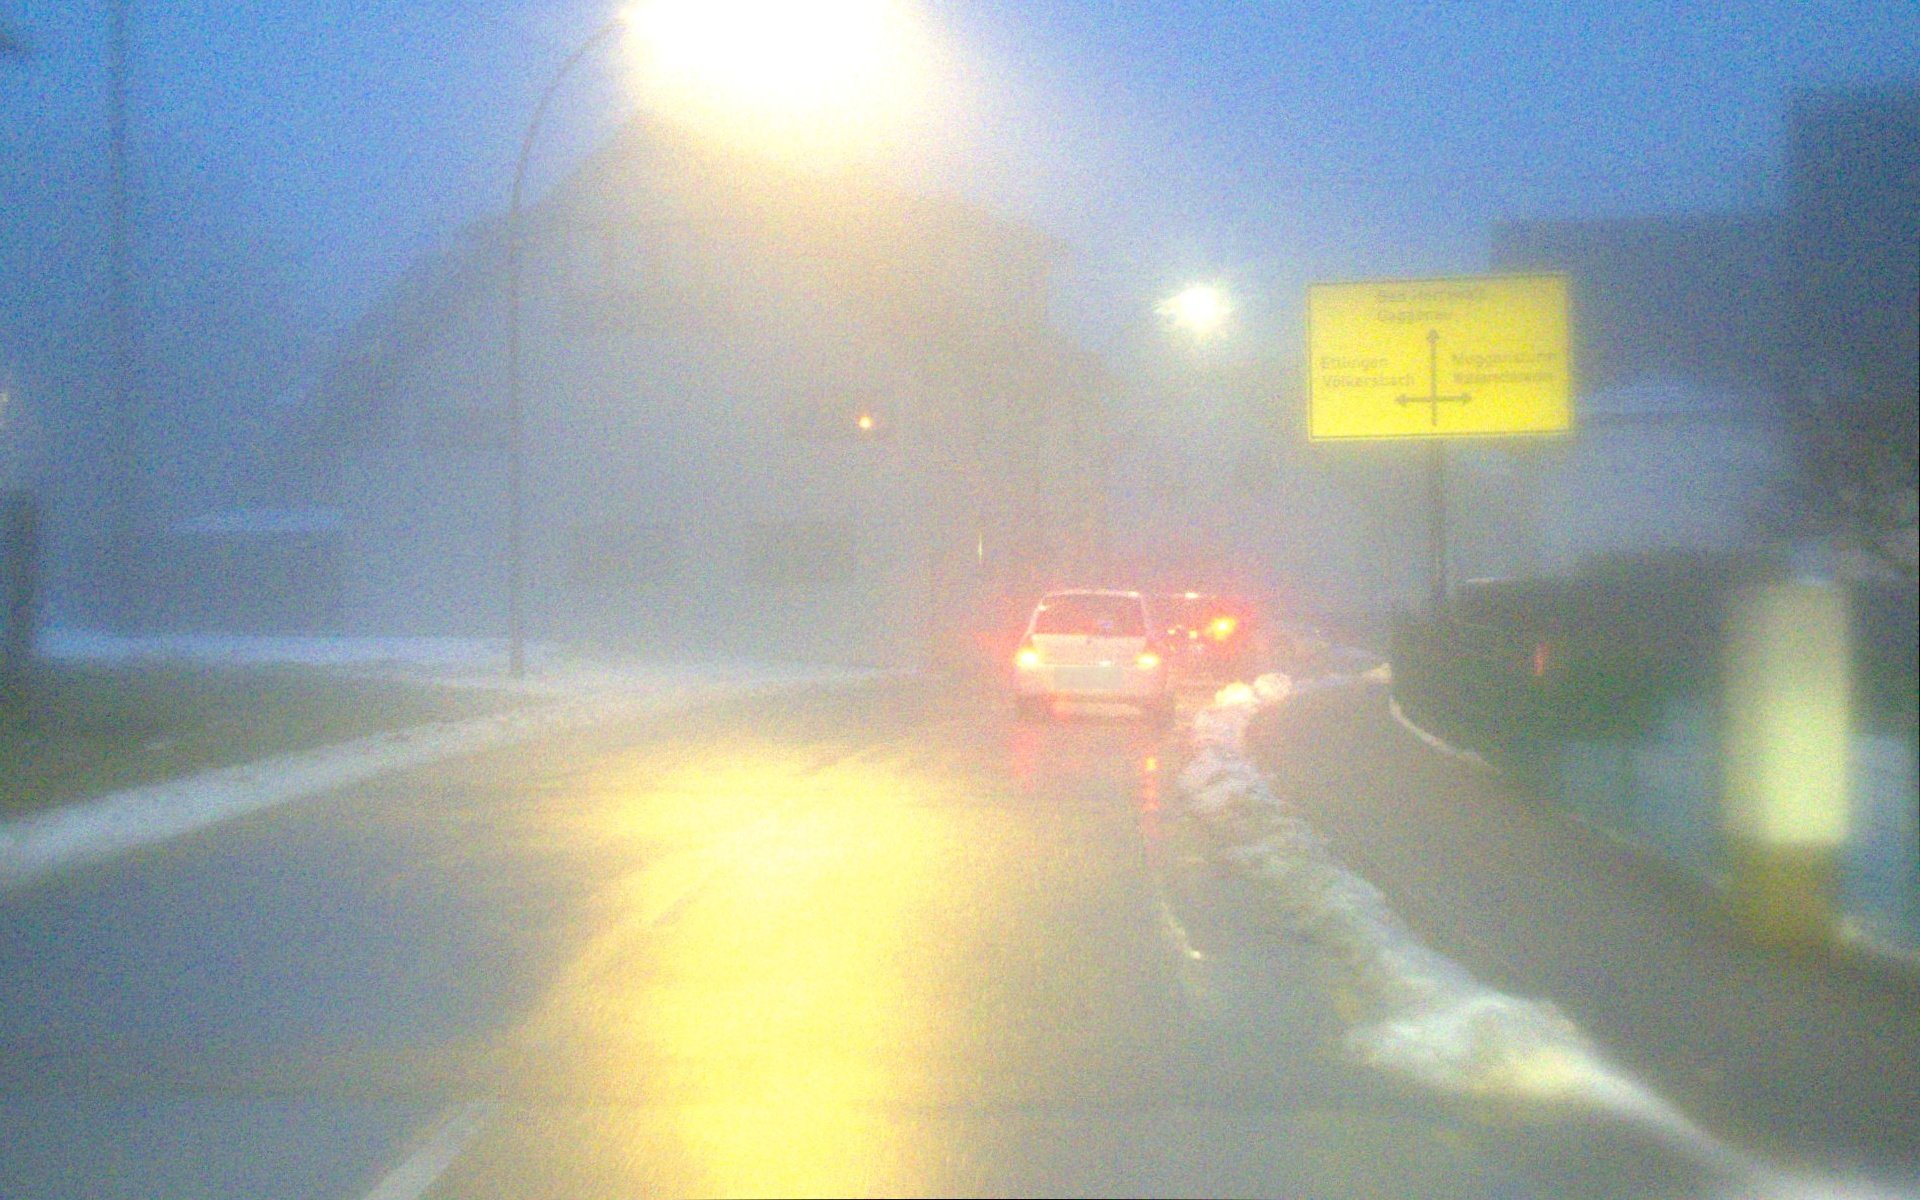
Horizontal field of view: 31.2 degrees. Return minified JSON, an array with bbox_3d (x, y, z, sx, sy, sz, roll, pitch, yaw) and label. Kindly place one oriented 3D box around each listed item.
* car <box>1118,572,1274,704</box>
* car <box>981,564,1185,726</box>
[{"bbox_3d":[3.791,0.568,54.568,1.994,1.831,3.999,-2,2,10],"label":"car"},{"bbox_3d":[1.407,0.447,37.750,1.994,1.503,4.000,-2,2,5],"label":"car"}]
